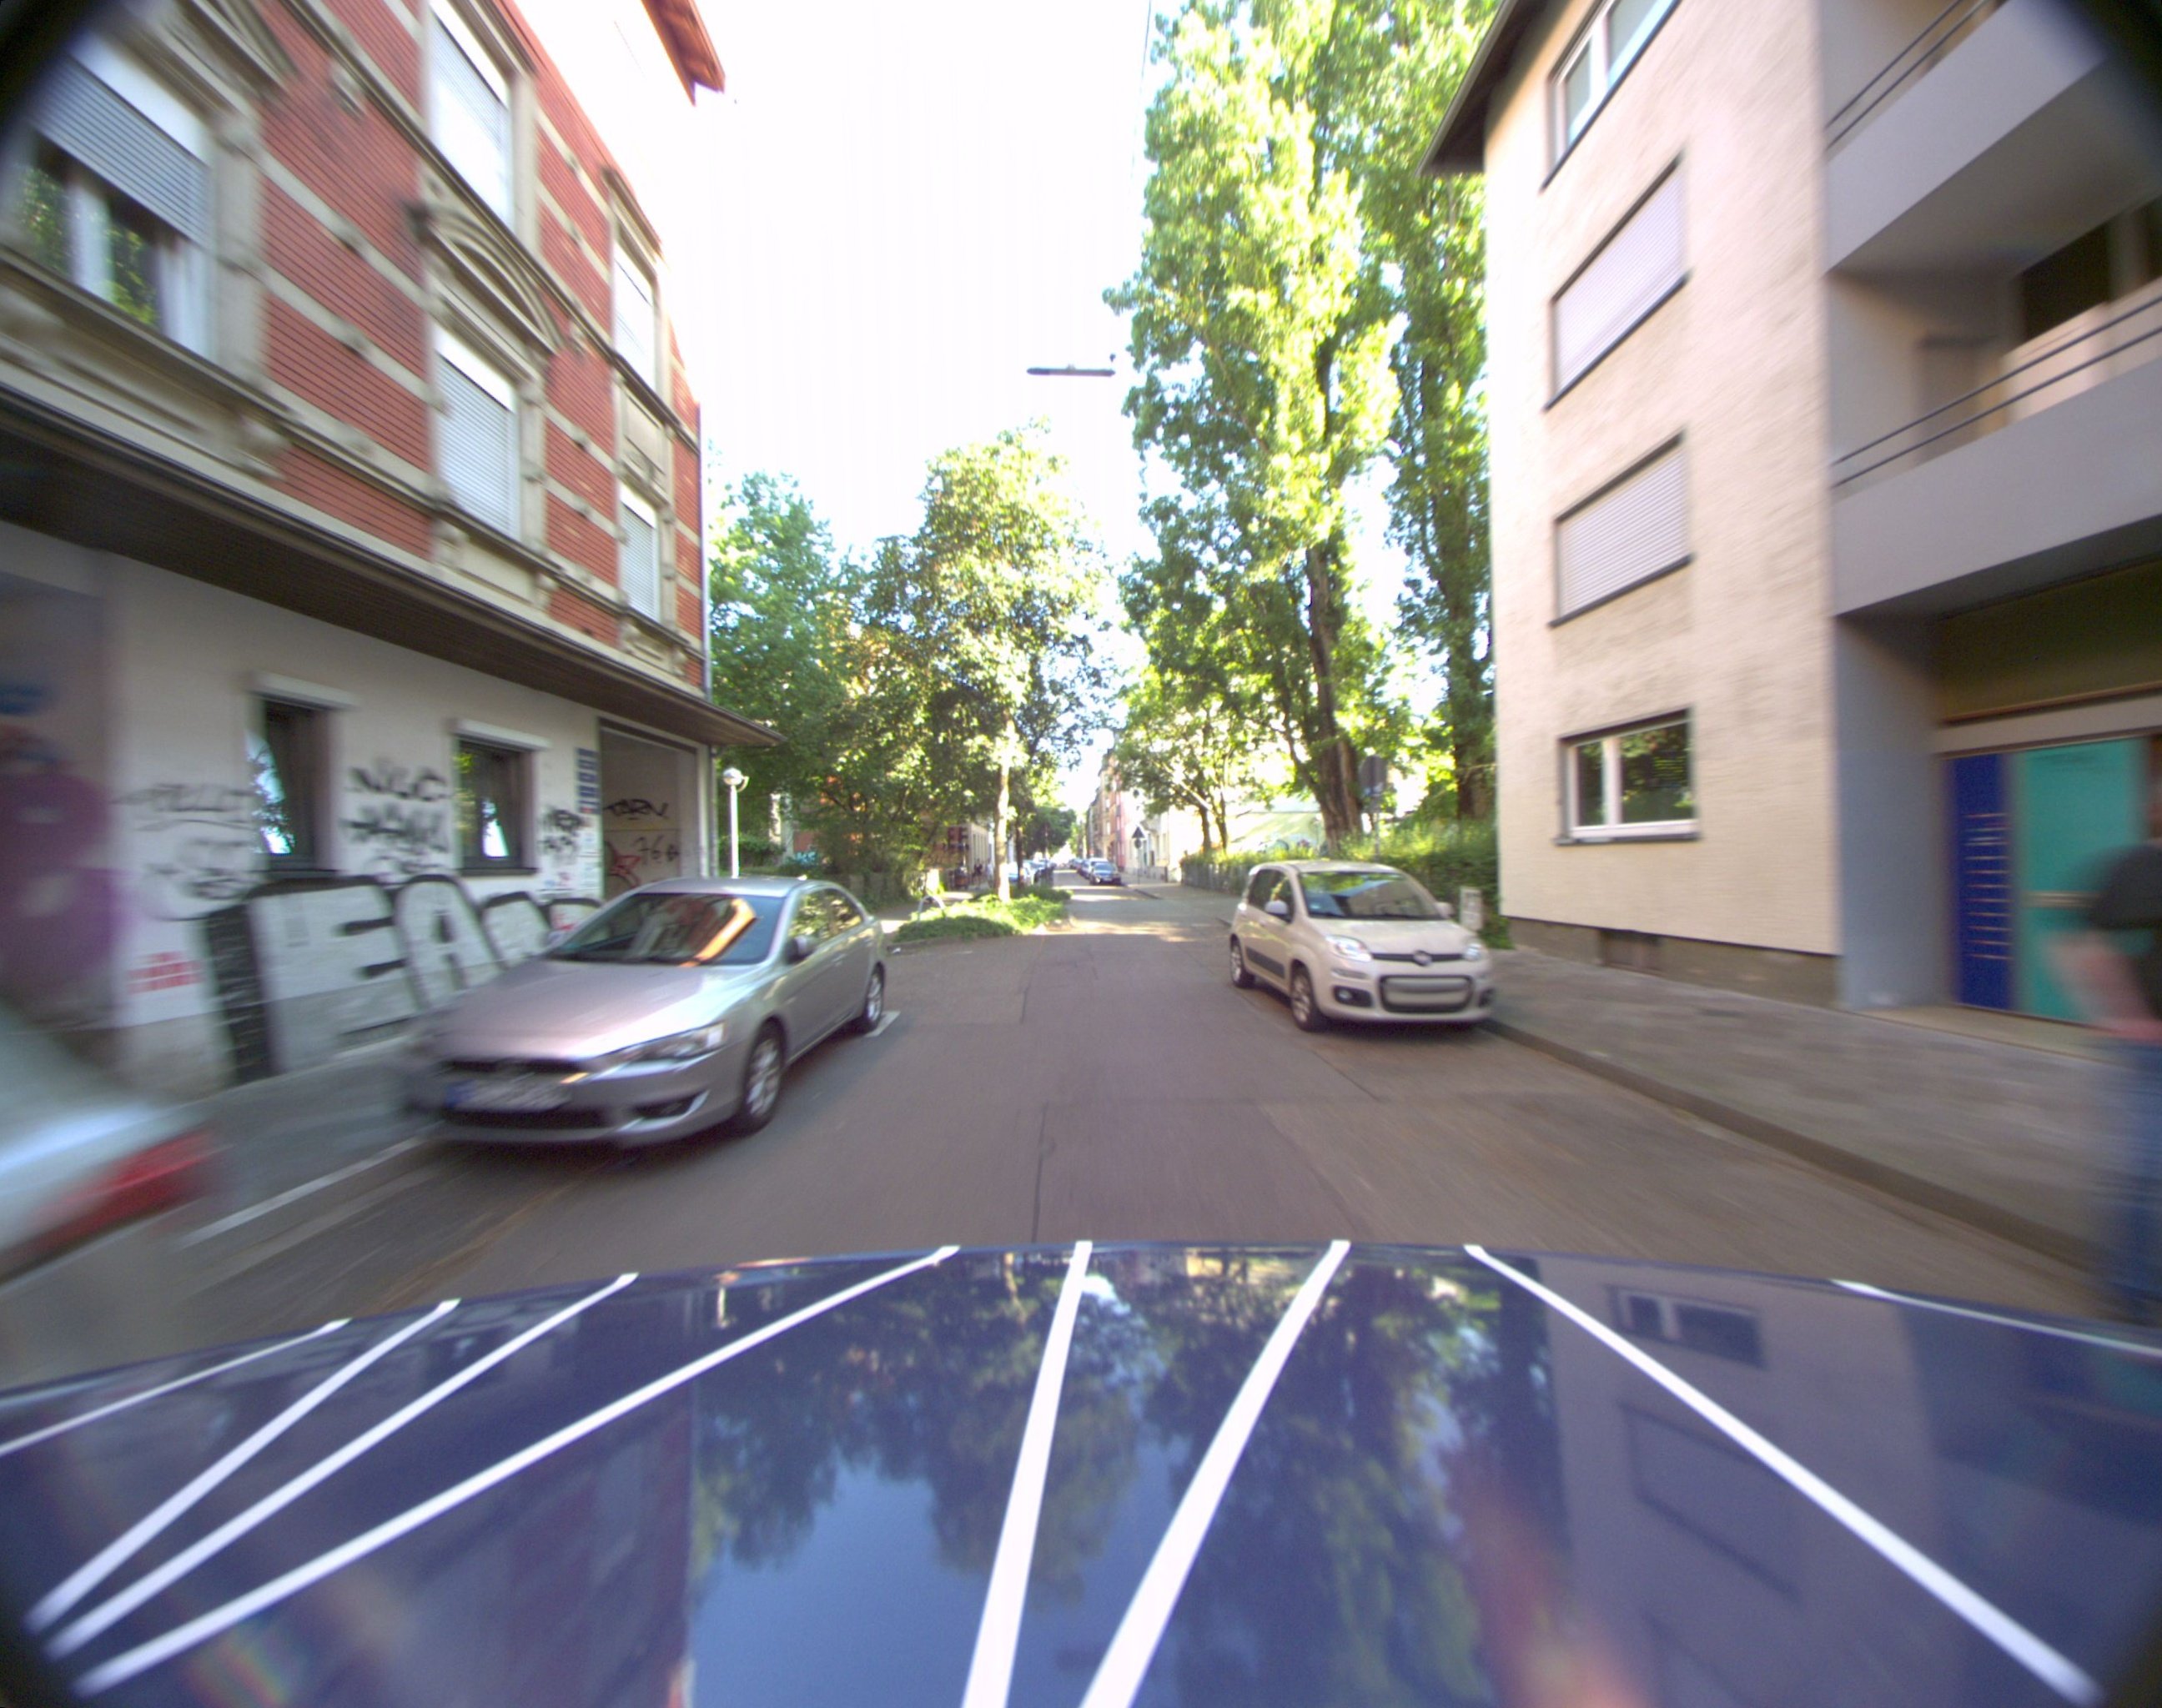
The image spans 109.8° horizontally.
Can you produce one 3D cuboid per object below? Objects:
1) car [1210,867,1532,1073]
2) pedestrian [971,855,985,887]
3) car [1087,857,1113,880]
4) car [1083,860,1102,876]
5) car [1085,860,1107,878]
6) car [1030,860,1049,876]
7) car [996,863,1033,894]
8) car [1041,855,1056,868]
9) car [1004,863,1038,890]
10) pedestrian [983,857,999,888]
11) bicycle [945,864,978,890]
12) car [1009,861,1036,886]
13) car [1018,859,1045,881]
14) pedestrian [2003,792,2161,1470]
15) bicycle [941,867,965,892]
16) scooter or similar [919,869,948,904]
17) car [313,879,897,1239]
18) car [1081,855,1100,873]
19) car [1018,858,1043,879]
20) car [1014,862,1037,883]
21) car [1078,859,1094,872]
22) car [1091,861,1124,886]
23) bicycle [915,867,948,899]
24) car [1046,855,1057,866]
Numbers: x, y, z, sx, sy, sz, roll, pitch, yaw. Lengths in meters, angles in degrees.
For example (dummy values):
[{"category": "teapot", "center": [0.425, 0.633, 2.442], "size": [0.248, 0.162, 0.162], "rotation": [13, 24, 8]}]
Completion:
[{"category": "car", "center": [2.613, 0.941, 7.899], "size": [1.679, 1.530, 3.868], "rotation": [0, 0, -3]}, {"category": "pedestrian", "center": [-5.711, 0.929, 42.059], "size": [0.599, 1.699, 0.706], "rotation": [2, 0, -2]}, {"category": "car", "center": [1.541, 1.127, 61.763], "size": [1.754, 1.731, 4.314], "rotation": [2, 0, -3]}, {"category": "car", "center": [1.132, 1.353, 75.804], "size": [1.769, 1.463, 3.815], "rotation": [2, 0, -1]}, {"category": "car", "center": [1.373, 1.294, 66.696], "size": [1.674, 1.518, 4.086], "rotation": [2, 0, 4]}, {"category": "car", "center": [-4.143, 1.366, 76.780], "size": [1.769, 1.508, 4.102], "rotation": [2, 0, -1]}, {"category": "car", "center": [-3.427, 1.241, 40.045], "size": [1.725, 1.485, 4.413], "rotation": [1, 0, -2]}, {"category": "car", "center": [-5.070, 1.175, 118.545], "size": [1.866, 1.970, 4.481], "rotation": [2, 0, 2]}, {"category": "car", "center": [-3.500, 1.279, 44.861], "size": [1.663, 1.485, 4.353], "rotation": [1, 0, -1]}, {"category": "pedestrian", "center": [-4.992, 1.024, 42.205], "size": [0.712, 1.699, 0.752], "rotation": [2, 0, -2]}, {"category": "bicycle", "center": [-6.314, 1.184, 40.409], "size": [1.294, 1.294, 2.327], "rotation": [1, 0, 2]}, {"category": "car", "center": [-3.832, 1.263, 50.163], "size": [1.597, 1.576, 3.763], "rotation": [1, 0, -1]}, {"category": "car", "center": [-3.850, 1.232, 59.310], "size": [1.770, 1.657, 4.328], "rotation": [0, 0, 0]}, {"category": "pedestrian", "center": [3.357, 0.748, 2.165], "size": [0.911, 1.829, 0.671], "rotation": [0, 0, -22]}, {"category": "bicycle", "center": [-6.356, 1.257, 37.765], "size": [0.849, 1.193, 1.982], "rotation": [0, -1, 1]}, {"category": "scooter or similar", "center": [-5.486, 1.192, 28.213], "size": [0.547, 1.254, 1.469], "rotation": [0, 0, -32]}, {"category": "car", "center": [-2.762, 1.030, 5.772], "size": [1.726, 1.553, 4.398], "rotation": [-1, 0, -1]}, {"category": "car", "center": [0.980, 1.088, 81.150], "size": [1.769, 1.814, 4.102], "rotation": [2, 0, -1]}, {"category": "car", "center": [-4.247, 1.210, 64.466], "size": [1.886, 1.657, 4.327], "rotation": [2, 0, -1]}, {"category": "car", "center": [-3.945, 1.315, 54.521], "size": [1.598, 1.442, 4.002], "rotation": [1, 0, -3]}, {"category": "car", "center": [0.621, 1.421, 96.188], "size": [1.769, 1.524, 4.102], "rotation": [2, 0, -1]}, {"category": "car", "center": [1.624, 1.178, 48.314], "size": [1.784, 1.435, 4.391], "rotation": [2, 0, -1]}, {"category": "bicycle", "center": [-6.333, 1.200, 32.268], "size": [0.849, 1.260, 2.692], "rotation": [0, -1, 1]}, {"category": "car", "center": [-5.565, 1.129, 143.793], "size": [1.769, 2.006, 4.263], "rotation": [2, 0, -1]}]
